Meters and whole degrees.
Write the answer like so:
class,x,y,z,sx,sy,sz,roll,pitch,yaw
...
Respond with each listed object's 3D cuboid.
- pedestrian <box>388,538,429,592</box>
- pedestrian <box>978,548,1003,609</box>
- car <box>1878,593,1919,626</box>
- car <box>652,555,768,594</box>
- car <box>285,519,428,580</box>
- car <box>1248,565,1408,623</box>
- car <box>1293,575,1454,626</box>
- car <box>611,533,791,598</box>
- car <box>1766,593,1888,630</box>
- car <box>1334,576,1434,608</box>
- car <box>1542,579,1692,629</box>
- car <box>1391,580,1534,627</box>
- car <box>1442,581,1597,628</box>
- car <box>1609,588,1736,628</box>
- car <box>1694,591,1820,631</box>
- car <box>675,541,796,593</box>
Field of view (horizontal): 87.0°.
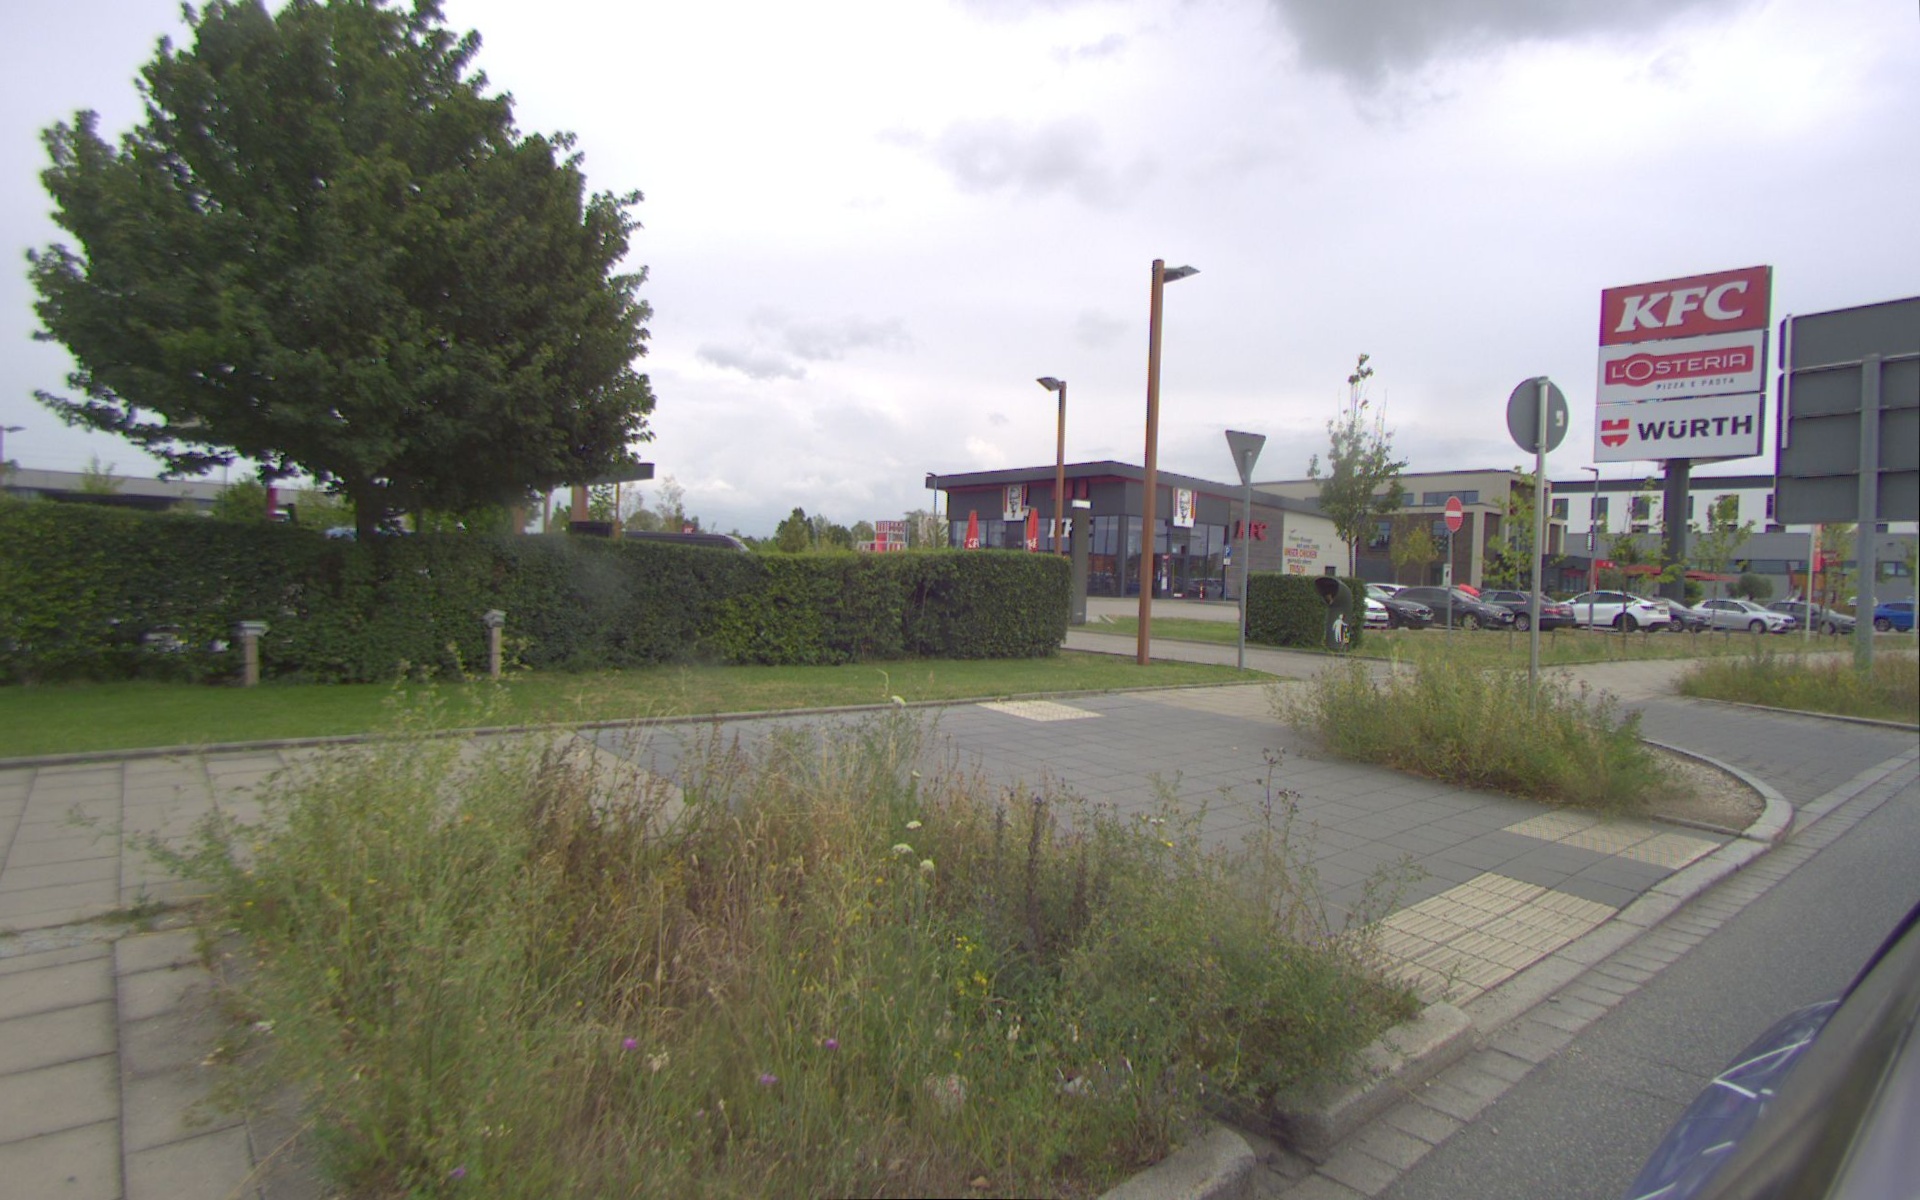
class,x,y,z,sx,sy,sz,roll,pitch,yaw
pedestrian,-15.134,-0.955,27.782,0.616,1.457,0.766,2,1,19
pedestrian,0.944,-0.658,31.040,0.466,1.828,0.794,2,1,23
car,48.378,0.520,49.828,1.924,1.539,4.286,1,1,-19
car,-10.065,-1.035,40.946,4.142,1.461,1.955,2,1,3
car,-27.505,-2.243,46.446,2.244,2.560,6.031,2,1,9
car,11.491,-0.221,31.858,1.902,1.660,4.359,1,2,-38
car,13.506,-0.008,33.290,2.034,1.454,4.483,1,2,-36
car,-11.202,-1.488,44.122,7.193,2.533,2.280,2,1,3
car,39.497,0.478,46.210,1.850,1.512,3.779,1,1,-21
car,22.982,-0.458,54.995,2.042,1.537,4.576,1,3,-37
car,26.231,0.122,40.597,2.046,1.665,4.585,1,3,-28
car,17.685,0.102,35.763,1.905,1.456,4.099,1,2,-34
car,20.340,0.134,36.972,1.992,1.487,4.536,1,1,-32
car,30.401,0.326,43.326,1.900,1.503,4.009,0,2,-24
car,35.053,0.441,44.637,1.862,1.499,3.884,1,3,-22
car,-11.484,-1.662,51.748,5.574,2.380,2.541,1,1,-26
